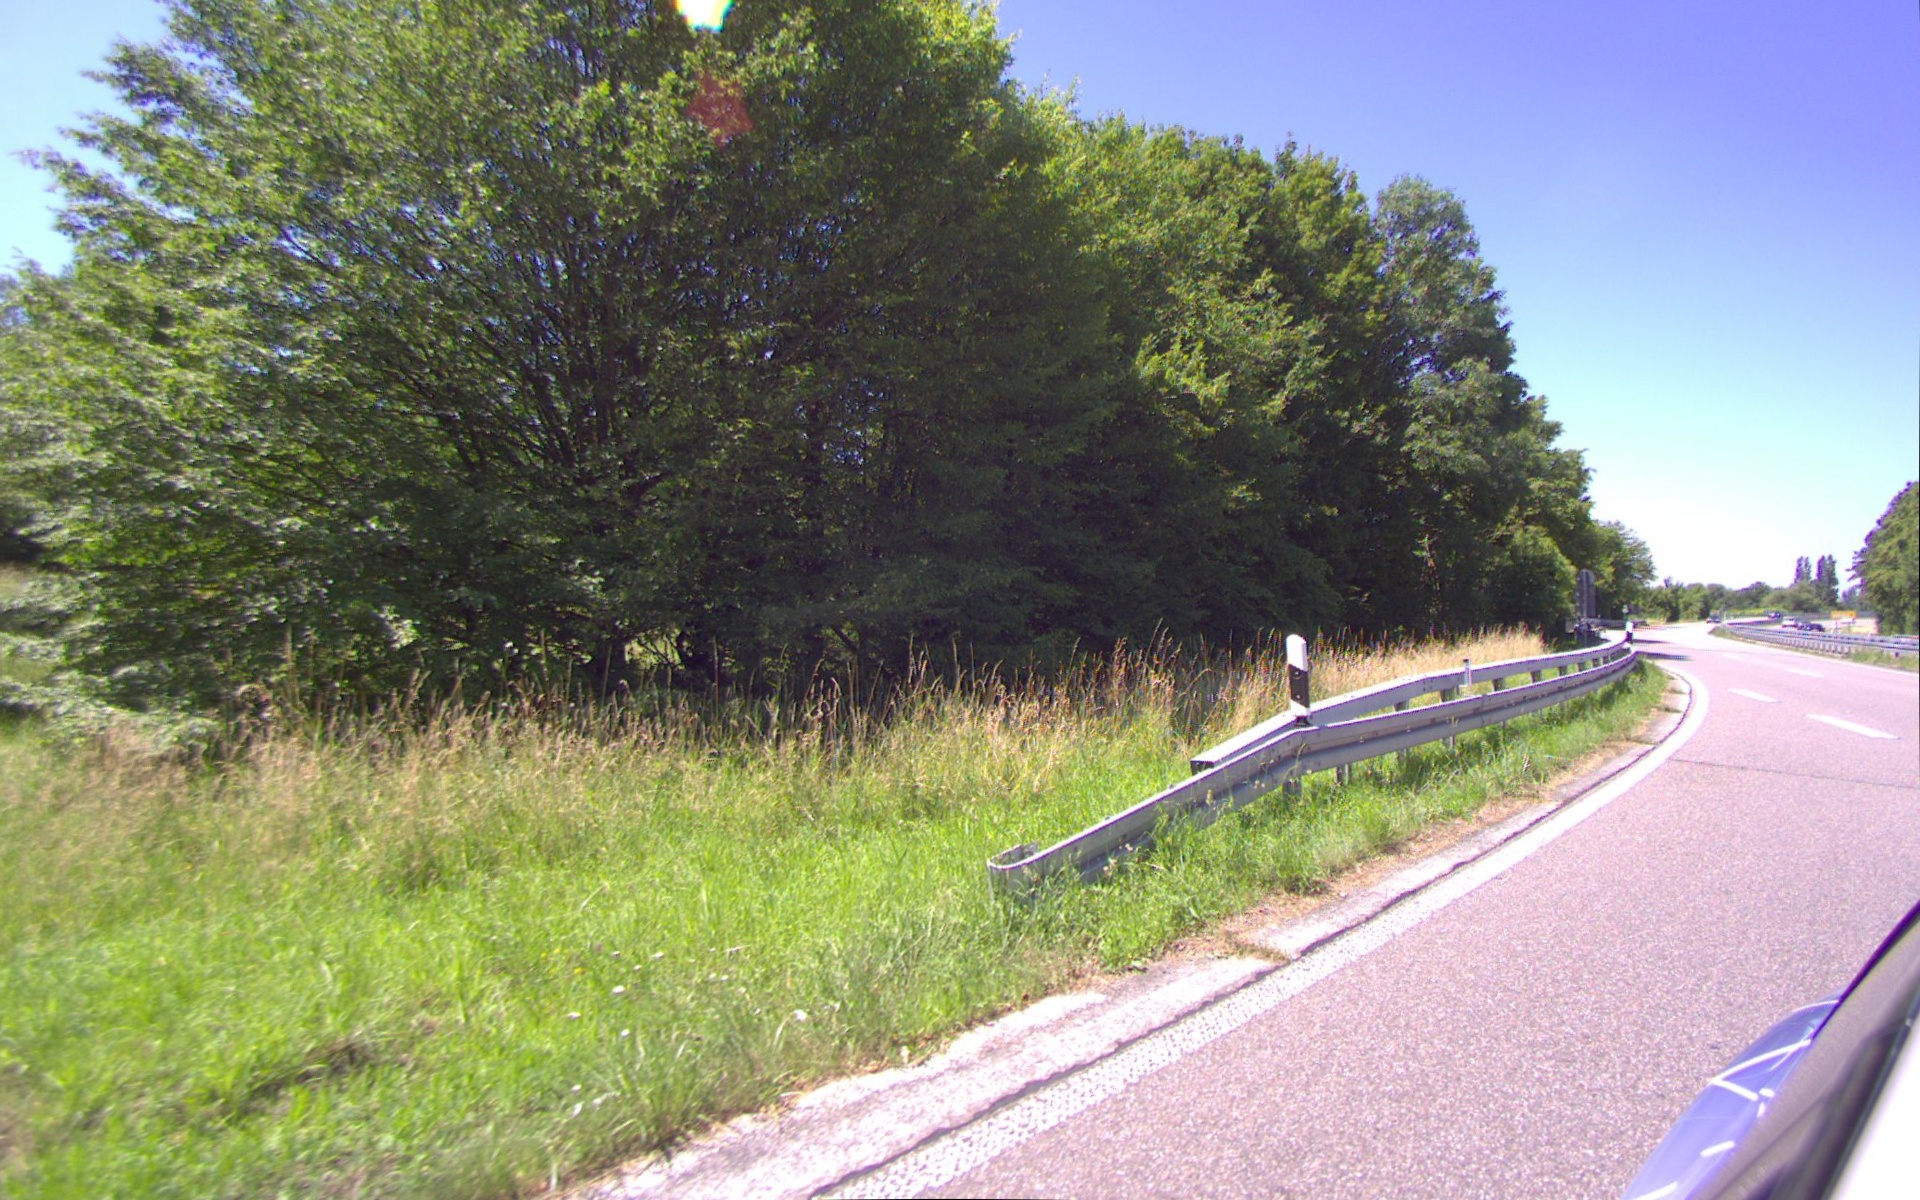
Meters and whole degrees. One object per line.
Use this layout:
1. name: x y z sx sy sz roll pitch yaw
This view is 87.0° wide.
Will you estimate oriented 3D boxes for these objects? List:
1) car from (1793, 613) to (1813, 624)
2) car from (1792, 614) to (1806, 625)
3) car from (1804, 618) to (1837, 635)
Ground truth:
1. car: 122.236 2.702 146.768 1.644 1.547 3.952 2 1 32
2. car: 139.300 3.255 168.015 1.649 1.627 4.157 2 1 40
3. car: 85.041 2.578 100.082 1.748 1.547 4.630 2 1 32
